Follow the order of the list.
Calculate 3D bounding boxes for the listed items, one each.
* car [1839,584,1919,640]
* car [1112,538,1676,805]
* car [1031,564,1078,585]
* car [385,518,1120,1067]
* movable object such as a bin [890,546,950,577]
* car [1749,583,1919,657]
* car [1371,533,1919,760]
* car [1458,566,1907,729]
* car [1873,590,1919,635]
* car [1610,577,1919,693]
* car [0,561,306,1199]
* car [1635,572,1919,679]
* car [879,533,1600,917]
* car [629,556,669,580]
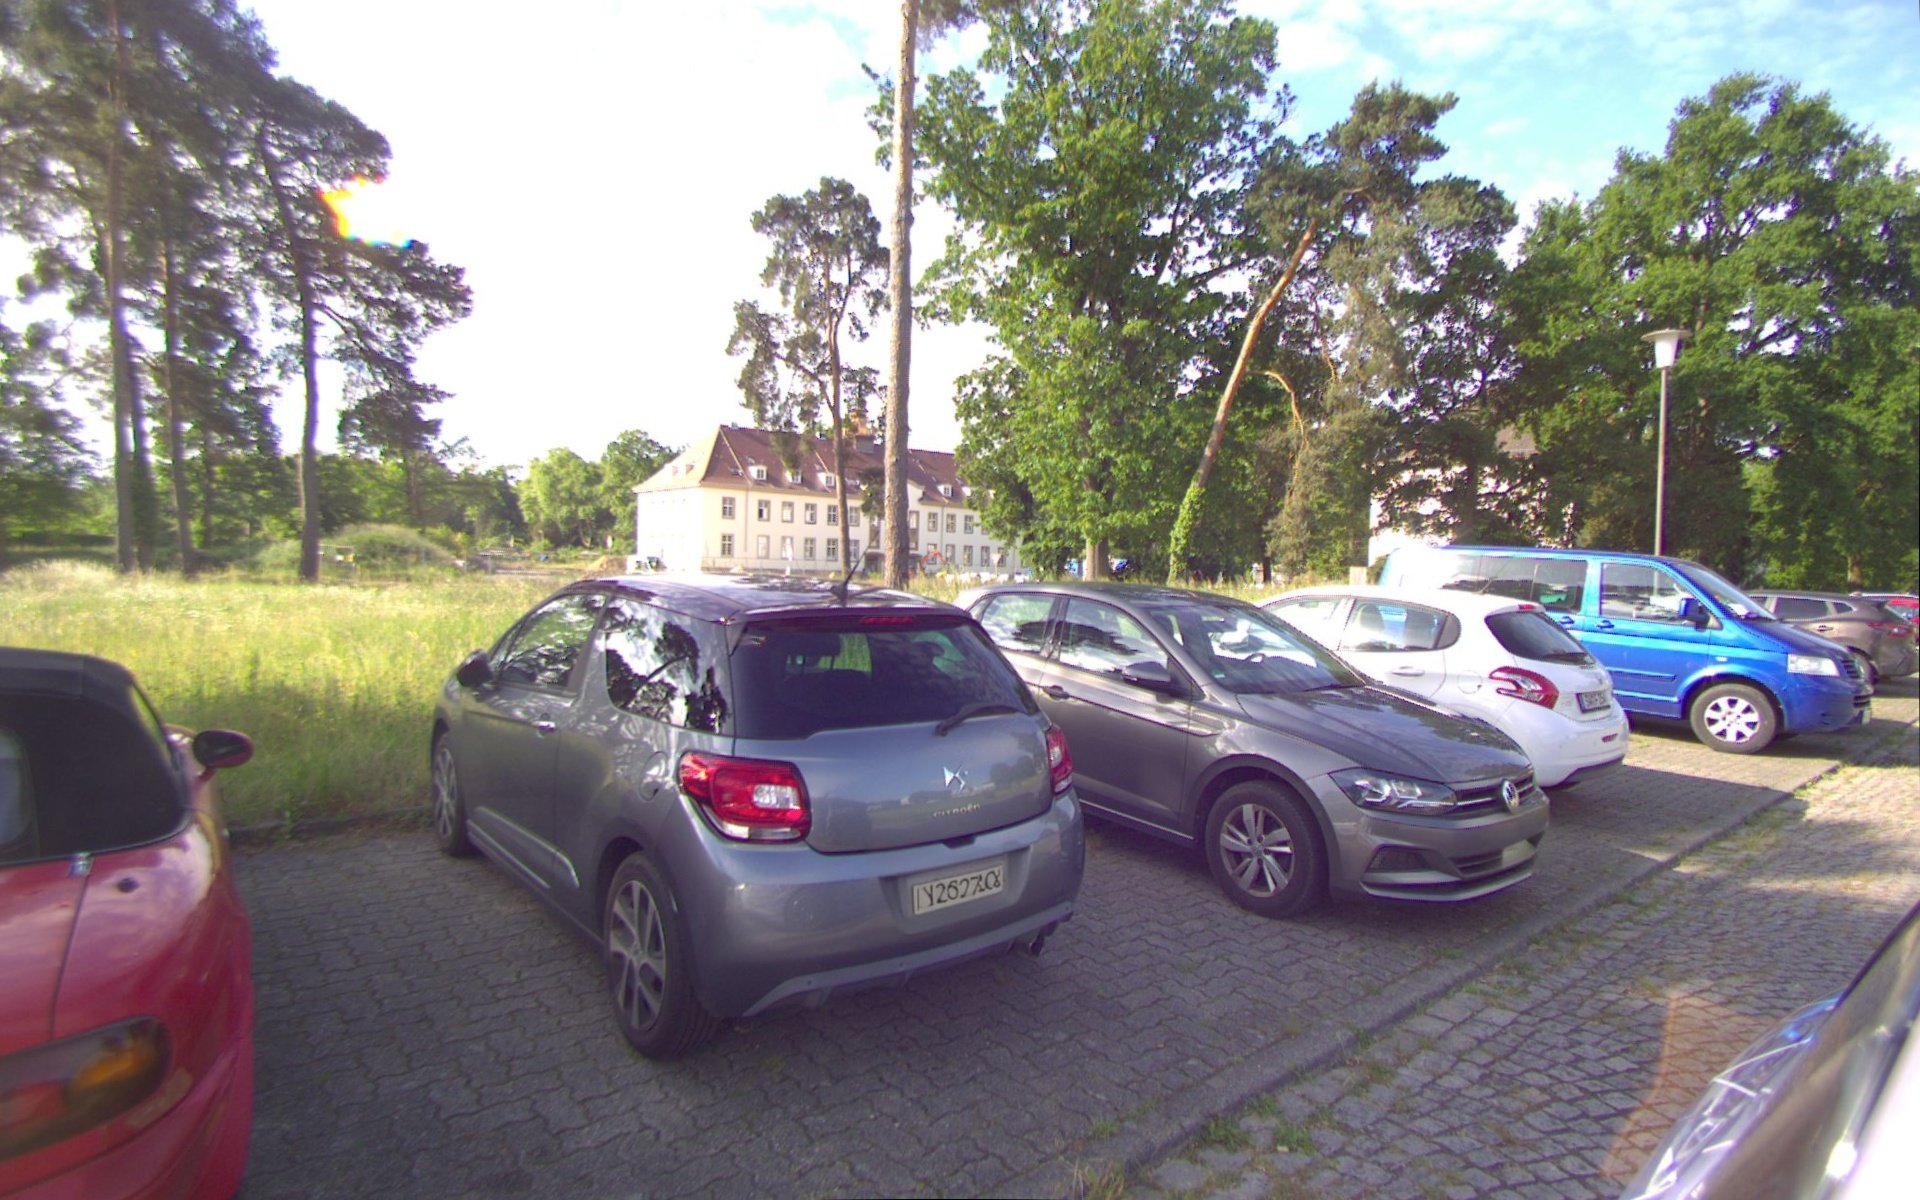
[{"bbox_3d":[29.272,0.418,30.381,1.821,1.576,4.096,1,3,-41],"label":"car"},{"bbox_3d":[3.216,0.349,8.096,1.729,1.553,3.717,1,3,-39],"label":"car"},{"bbox_3d":[9.041,-2.446,96.698,4.317,1.963,1.906,-1,0,-39],"label":"car"},{"bbox_3d":[-1.284,0.410,4.710,1.784,1.466,3.717,1,3,-40],"label":"car"},{"bbox_3d":[-4.458,-4.236,112.870,6.338,3.342,2.862,-1,0,7],"label":"movable object such as a bin"},{"bbox_3d":[21.509,0.467,24.008,1.821,1.477,4.096,1,3,-41],"label":"car"},{"bbox_3d":[7.402,0.294,11.409,1.965,1.959,4.710,0,3,-40],"label":"car"},{"bbox_3d":[9.217,0.456,13.249,1.905,1.596,4.408,0,4,-40],"label":"car"},{"bbox_3d":[32.890,0.506,33.227,1.753,1.440,4.096,1,3,-41],"label":"car"},{"bbox_3d":[13.824,0.481,17.272,1.902,1.617,4.232,-1,3,-42],"label":"car"},{"bbox_3d":[-3.444,0.553,3.379,1.715,1.238,3.717,1,3,-39],"label":"car"},{"bbox_3d":[15.620,0.382,19.272,1.902,1.617,4.233,-1,4,-42],"label":"car"},{"bbox_3d":[1.345,0.405,6.004,1.823,1.466,3.717,1,3,-39],"label":"car"},{"bbox_3d":[-30.044,-3.090,97.759,1.967,2.240,4.423,-1,0,-43],"label":"car"}]
